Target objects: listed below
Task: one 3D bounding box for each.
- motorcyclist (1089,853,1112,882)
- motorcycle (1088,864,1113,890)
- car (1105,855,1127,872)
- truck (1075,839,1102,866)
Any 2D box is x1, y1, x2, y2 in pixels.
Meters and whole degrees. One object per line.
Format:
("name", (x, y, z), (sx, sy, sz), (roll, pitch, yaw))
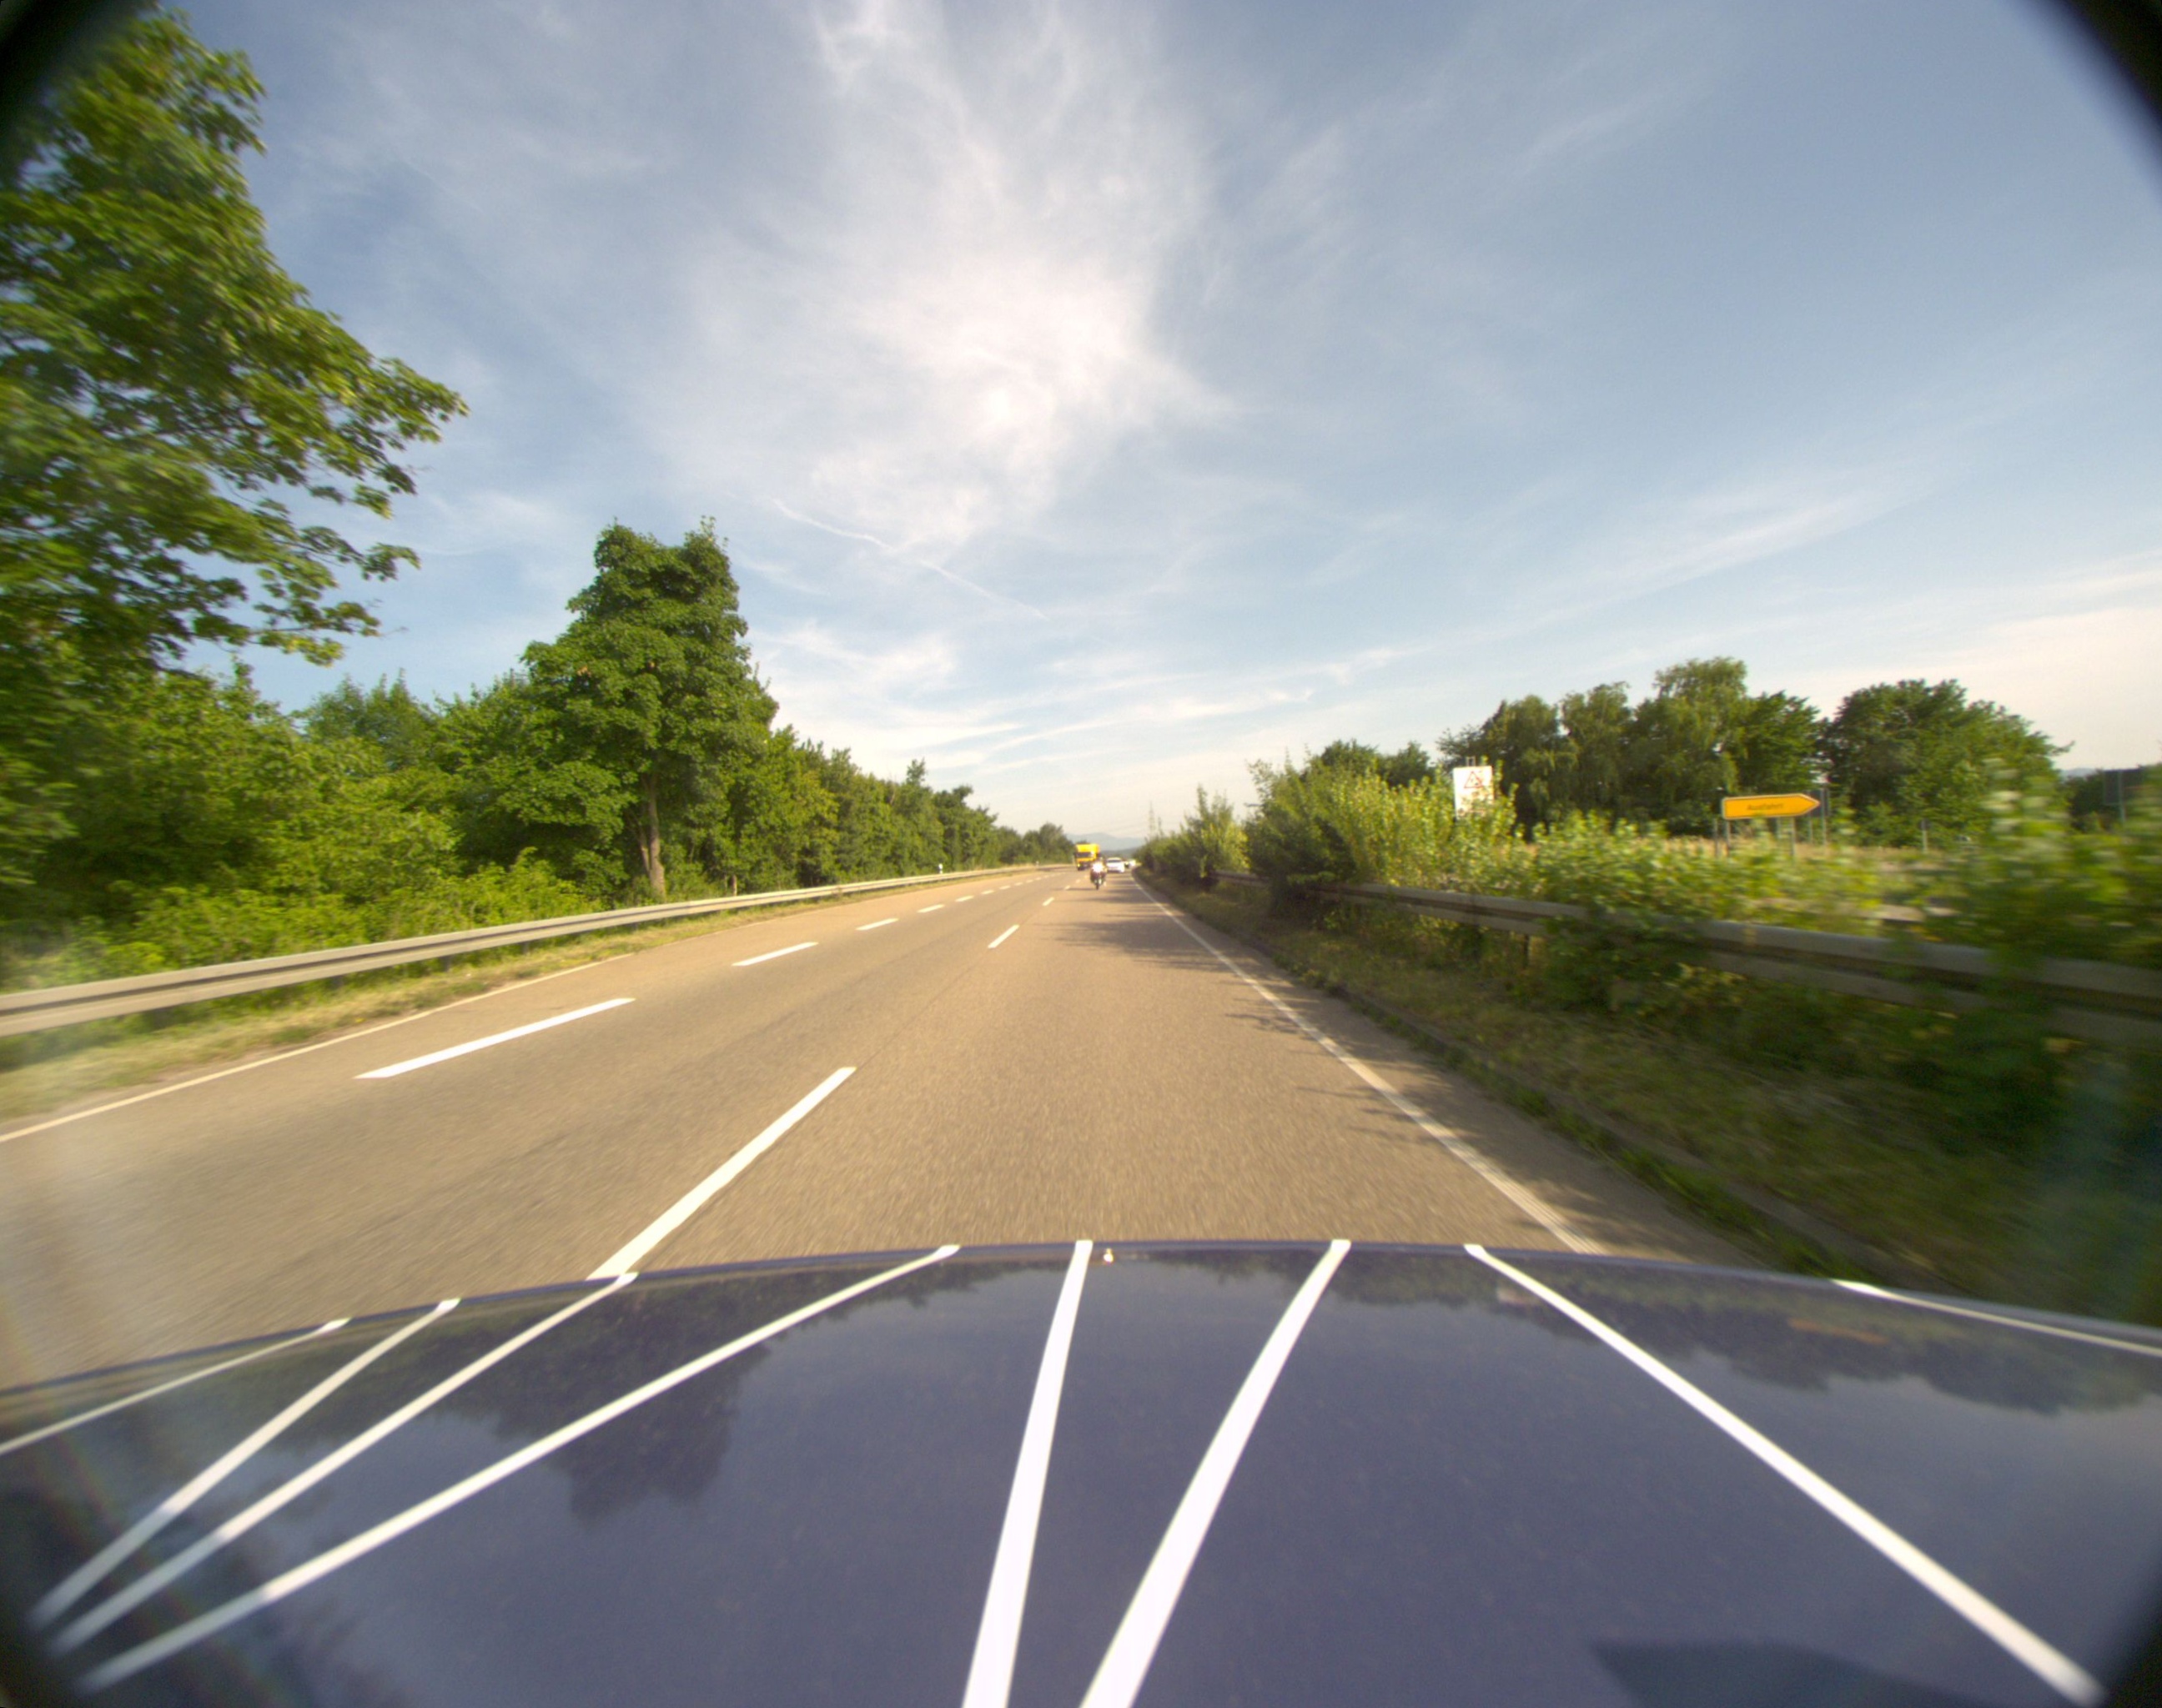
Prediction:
("motorcyclist", (0.940, 0.642, 36.193), (0.936, 1.344, 1.143), (-1, 0, 7))
("motorcycle", (0.947, 1.070, 36.211), (0.936, 1.131, 2.584), (-1, 0, 7))
("car", (3.348, 0.870, 71.972), (1.868, 1.454, 4.085), (-2, 0, 5))
("truck", (1.051, -0.081, 100.658), (2.785, 3.297, 10.494), (-2, -1, 4))
